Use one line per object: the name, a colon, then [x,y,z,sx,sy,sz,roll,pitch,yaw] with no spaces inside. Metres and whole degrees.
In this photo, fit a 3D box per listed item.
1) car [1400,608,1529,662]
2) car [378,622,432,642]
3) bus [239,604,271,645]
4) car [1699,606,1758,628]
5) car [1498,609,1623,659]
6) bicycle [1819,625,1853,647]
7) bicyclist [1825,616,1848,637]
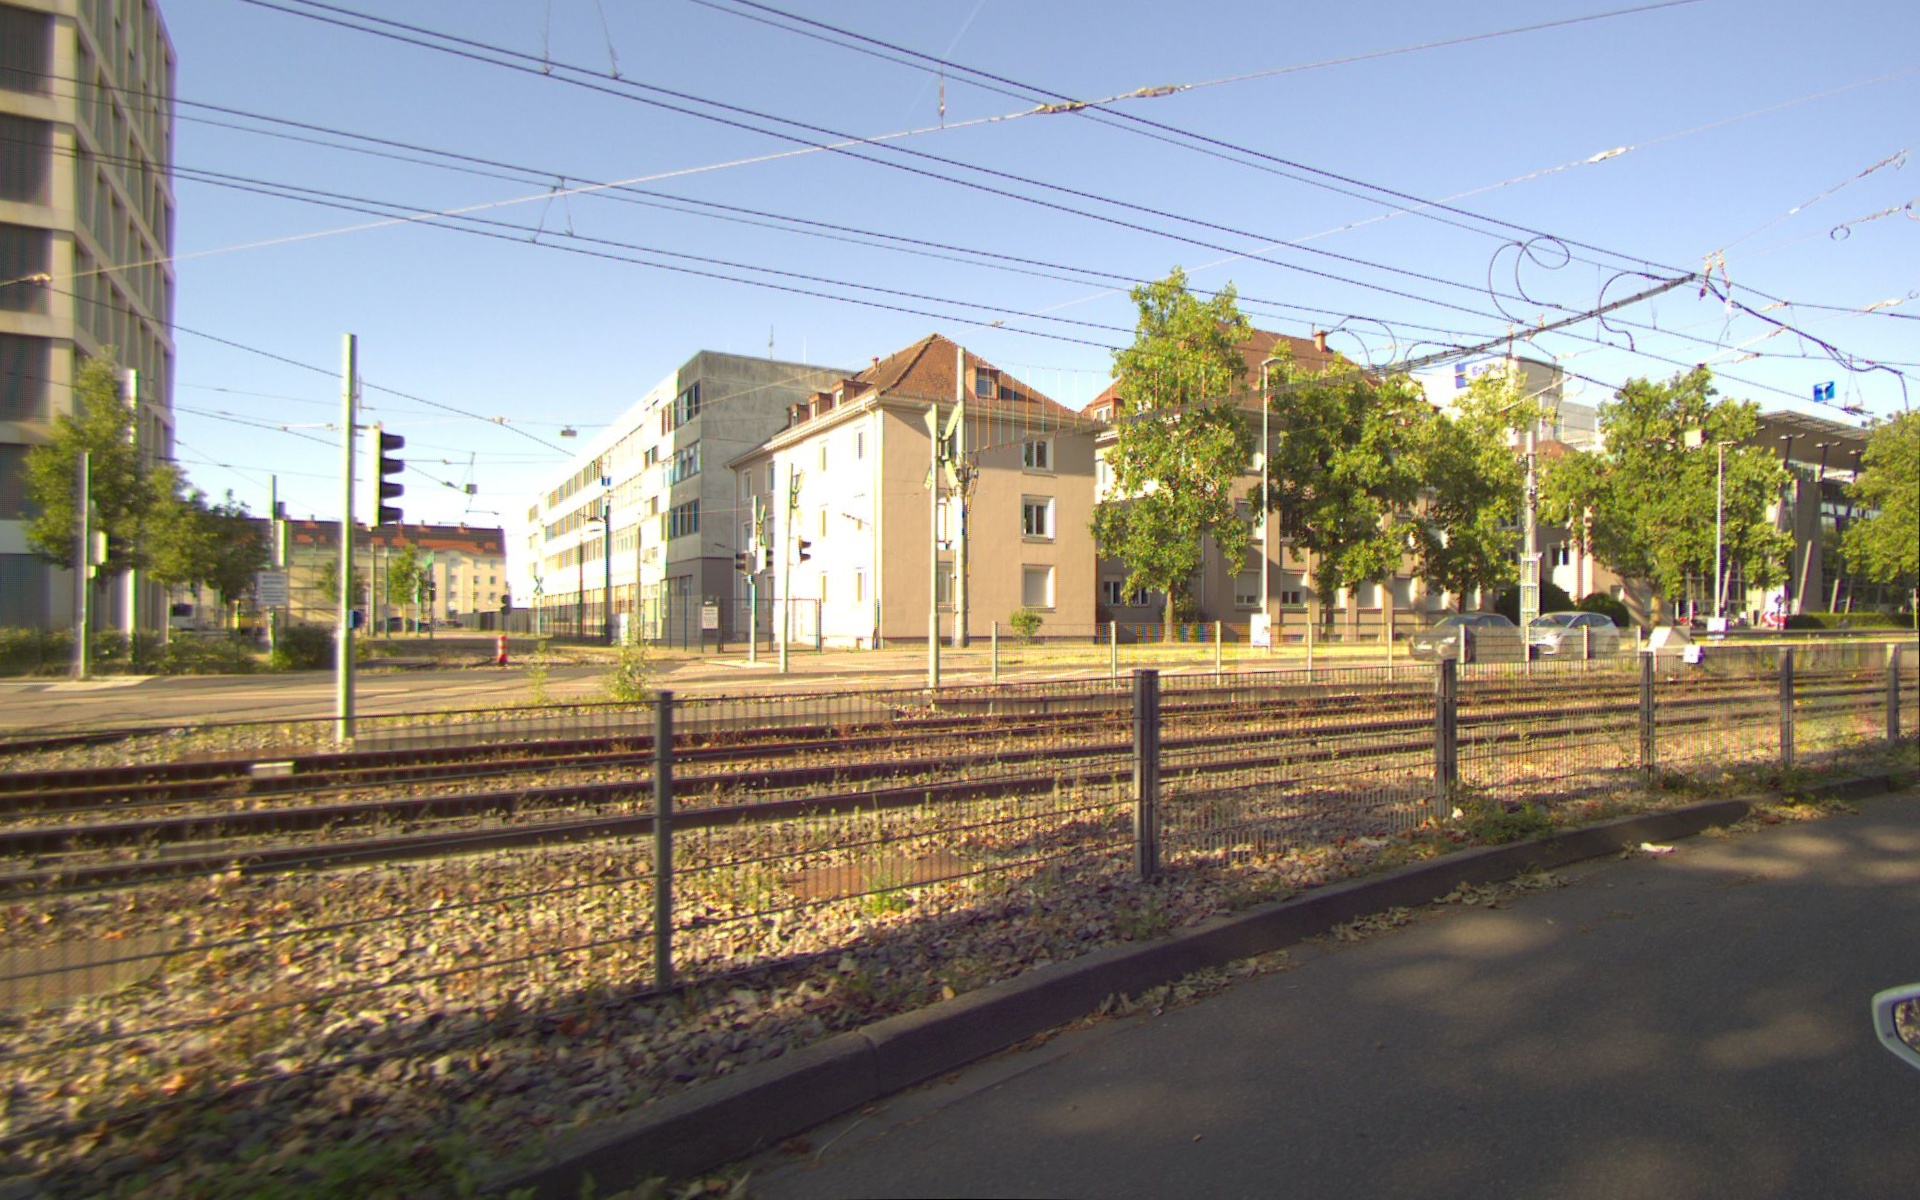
car: [15.732,1.079,31.301,3.954,1.568,1.731,1,0,-31]
car: [-46.615,2.679,84.423,3.954,1.568,1.731,1,0,-31]
bus: [-57.915,1.962,82.613,1.891,3.182,7.630,1,0,-33]
car: [71.283,1.589,93.197,1.977,2.040,3.967,0,-1,-31]
car: [20.277,1.120,33.887,3.953,1.550,1.984,1,0,-30]
bicycle: [62.129,2.512,71.223,3.142,1.506,0.925,1,-1,-32]
bicyclist: [62.156,1.875,71.229,1.258,1.506,0.925,0,-1,-32]
